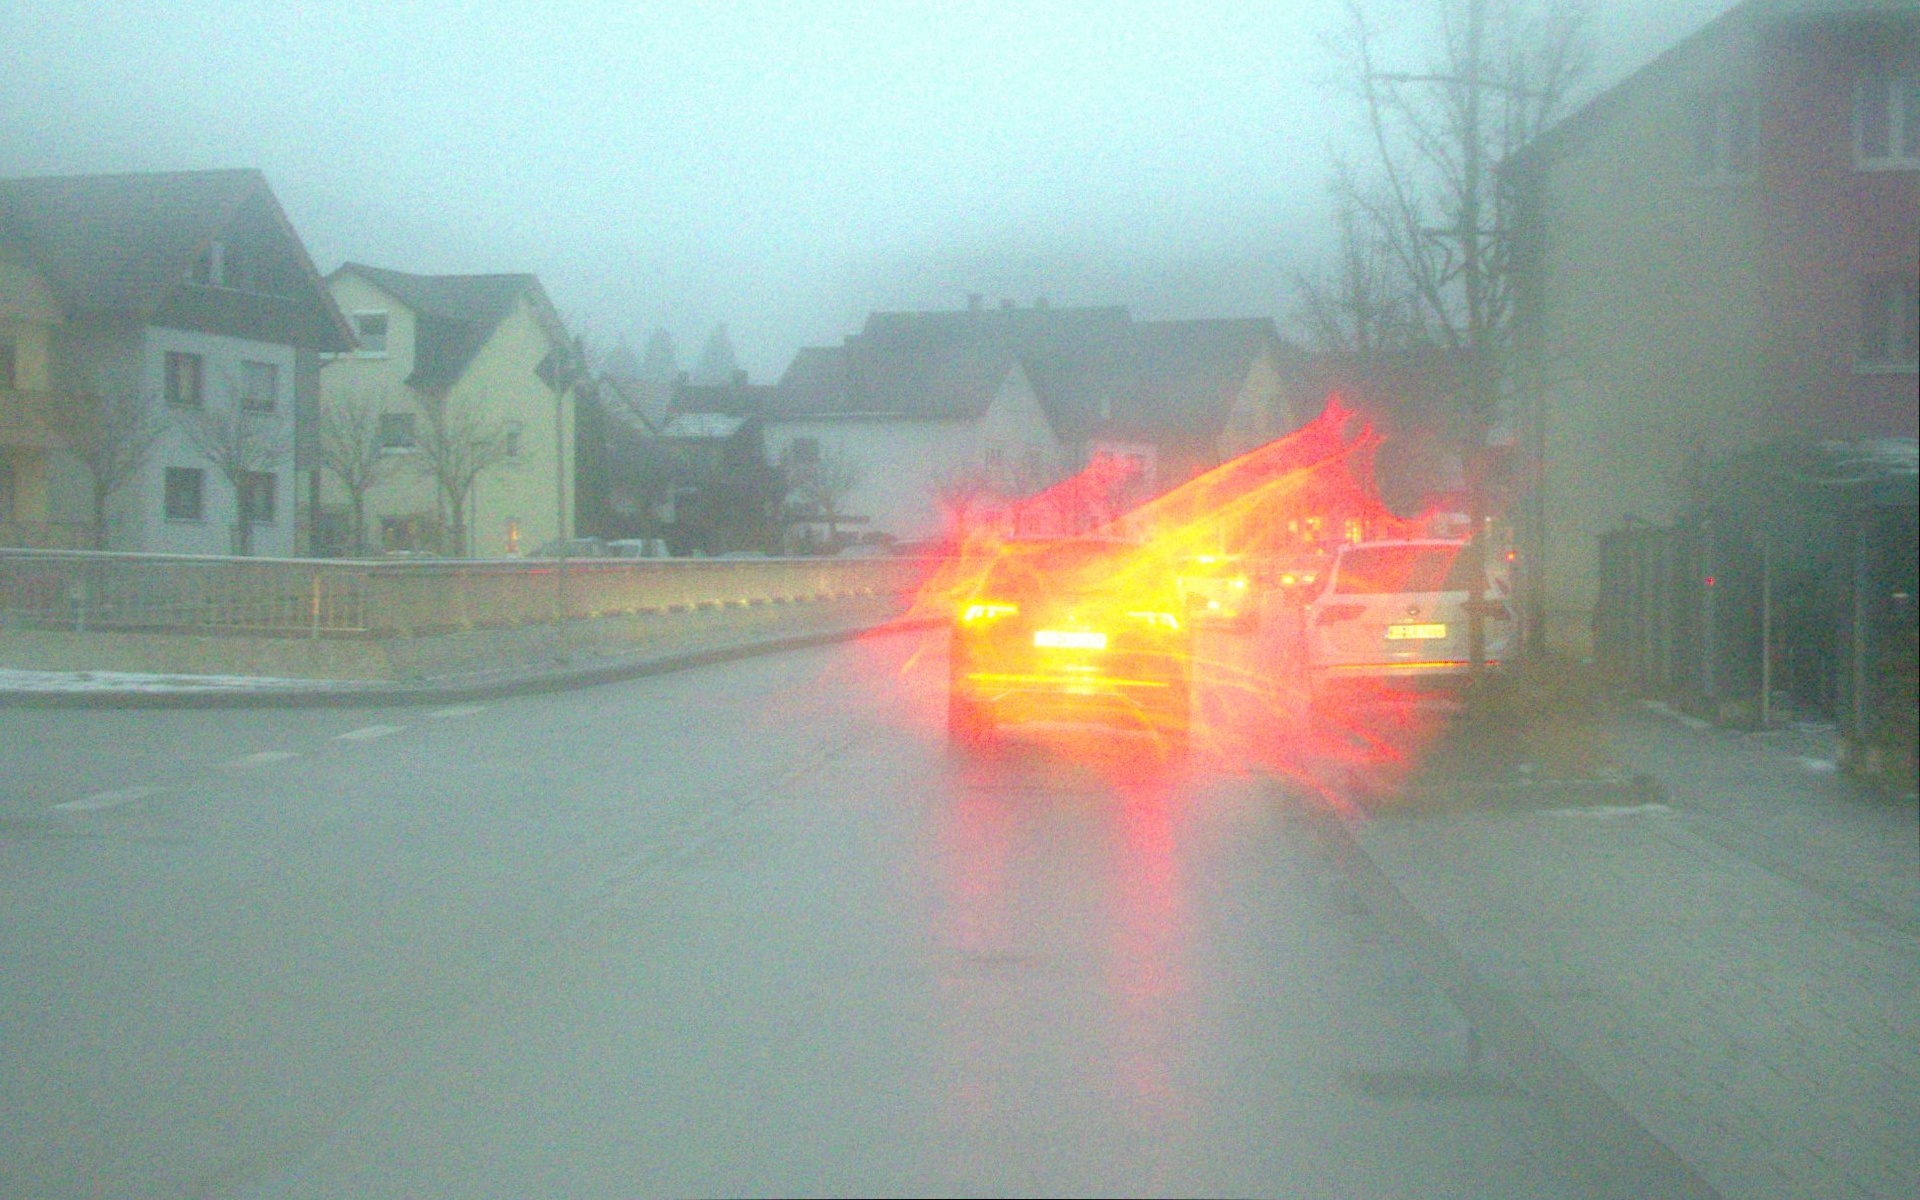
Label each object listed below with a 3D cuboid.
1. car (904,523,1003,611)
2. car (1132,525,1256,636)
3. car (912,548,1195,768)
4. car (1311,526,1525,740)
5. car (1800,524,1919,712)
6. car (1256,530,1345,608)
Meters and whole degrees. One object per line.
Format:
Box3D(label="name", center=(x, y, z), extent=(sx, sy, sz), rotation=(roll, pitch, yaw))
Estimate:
Box3D(label="car", center=(-0.133, -0.775, 82.861), extent=(1.994, 2.007, 3.999), rotation=(2, 0, 5))
Box3D(label="car", center=(4.544, -0.352, 66.286), extent=(1.994, 2.007, 3.998), rotation=(2, 0, 9))
Box3D(label="car", center=(0.775, 0.406, 26.659), extent=(1.994, 1.520, 4.000), rotation=(2, 0, 3))
Box3D(label="car", center=(4.081, 0.239, 31.150), extent=(1.745, 1.779, 4.335), rotation=(-1, 1, 6))
Box3D(label="car", center=(8.698, 0.118, 31.192), extent=(1.970, 1.577, 4.333), rotation=(1, 1, 13))
Box3D(label="car", center=(9.373, -0.826, 94.306), extent=(1.994, 2.007, 3.998), rotation=(2, 0, 11))
